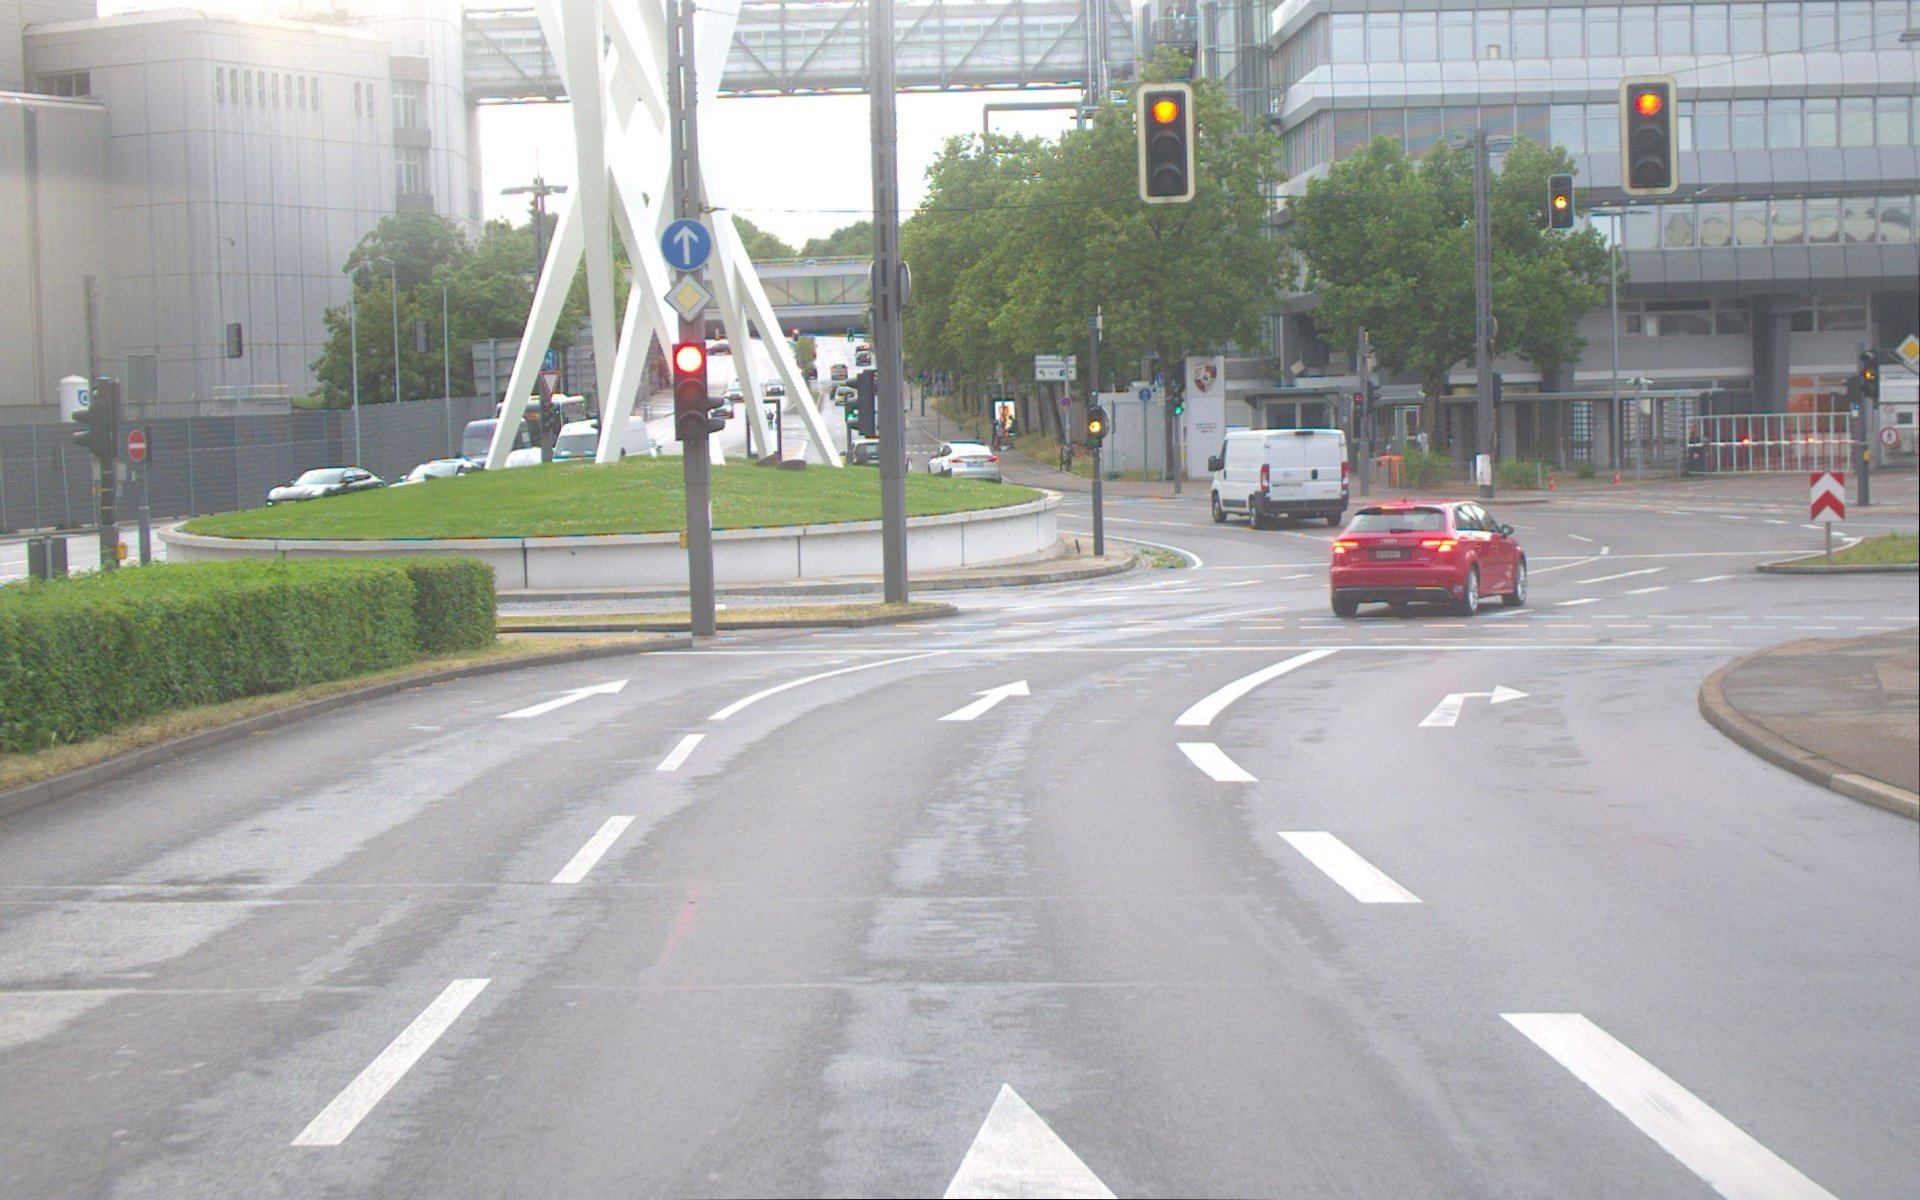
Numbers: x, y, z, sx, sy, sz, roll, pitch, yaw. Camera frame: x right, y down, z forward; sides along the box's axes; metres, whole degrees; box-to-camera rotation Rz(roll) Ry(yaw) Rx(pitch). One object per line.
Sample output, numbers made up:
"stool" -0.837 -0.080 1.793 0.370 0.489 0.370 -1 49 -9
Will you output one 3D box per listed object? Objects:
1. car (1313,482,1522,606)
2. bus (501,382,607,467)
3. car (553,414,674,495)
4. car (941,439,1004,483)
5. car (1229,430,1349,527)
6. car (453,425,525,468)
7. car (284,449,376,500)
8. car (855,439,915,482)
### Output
"car" 5.745 -0.703 42.857 1.774 1.459 3.729 0 1 21
"bus" -16.128 -6.929 137.525 2.669 3.189 12.671 0 2 0
"car" -10.731 -4.522 106.918 1.995 2.438 5.424 -1 2 14
"car" 0.381 -4.442 110.192 1.667 1.296 3.887 -1 1 -4
"car" 7.528 -2.760 79.193 2.232 2.100 4.955 -1 1 0
"car" -16.831 -5.462 123.012 1.833 1.467 4.514 -1 2 1
"car" -18.814 -3.762 102.825 1.833 1.467 4.514 -1 2 1
"car" -2.432 -4.484 110.960 1.556 1.284 3.414 -1 1 -8
